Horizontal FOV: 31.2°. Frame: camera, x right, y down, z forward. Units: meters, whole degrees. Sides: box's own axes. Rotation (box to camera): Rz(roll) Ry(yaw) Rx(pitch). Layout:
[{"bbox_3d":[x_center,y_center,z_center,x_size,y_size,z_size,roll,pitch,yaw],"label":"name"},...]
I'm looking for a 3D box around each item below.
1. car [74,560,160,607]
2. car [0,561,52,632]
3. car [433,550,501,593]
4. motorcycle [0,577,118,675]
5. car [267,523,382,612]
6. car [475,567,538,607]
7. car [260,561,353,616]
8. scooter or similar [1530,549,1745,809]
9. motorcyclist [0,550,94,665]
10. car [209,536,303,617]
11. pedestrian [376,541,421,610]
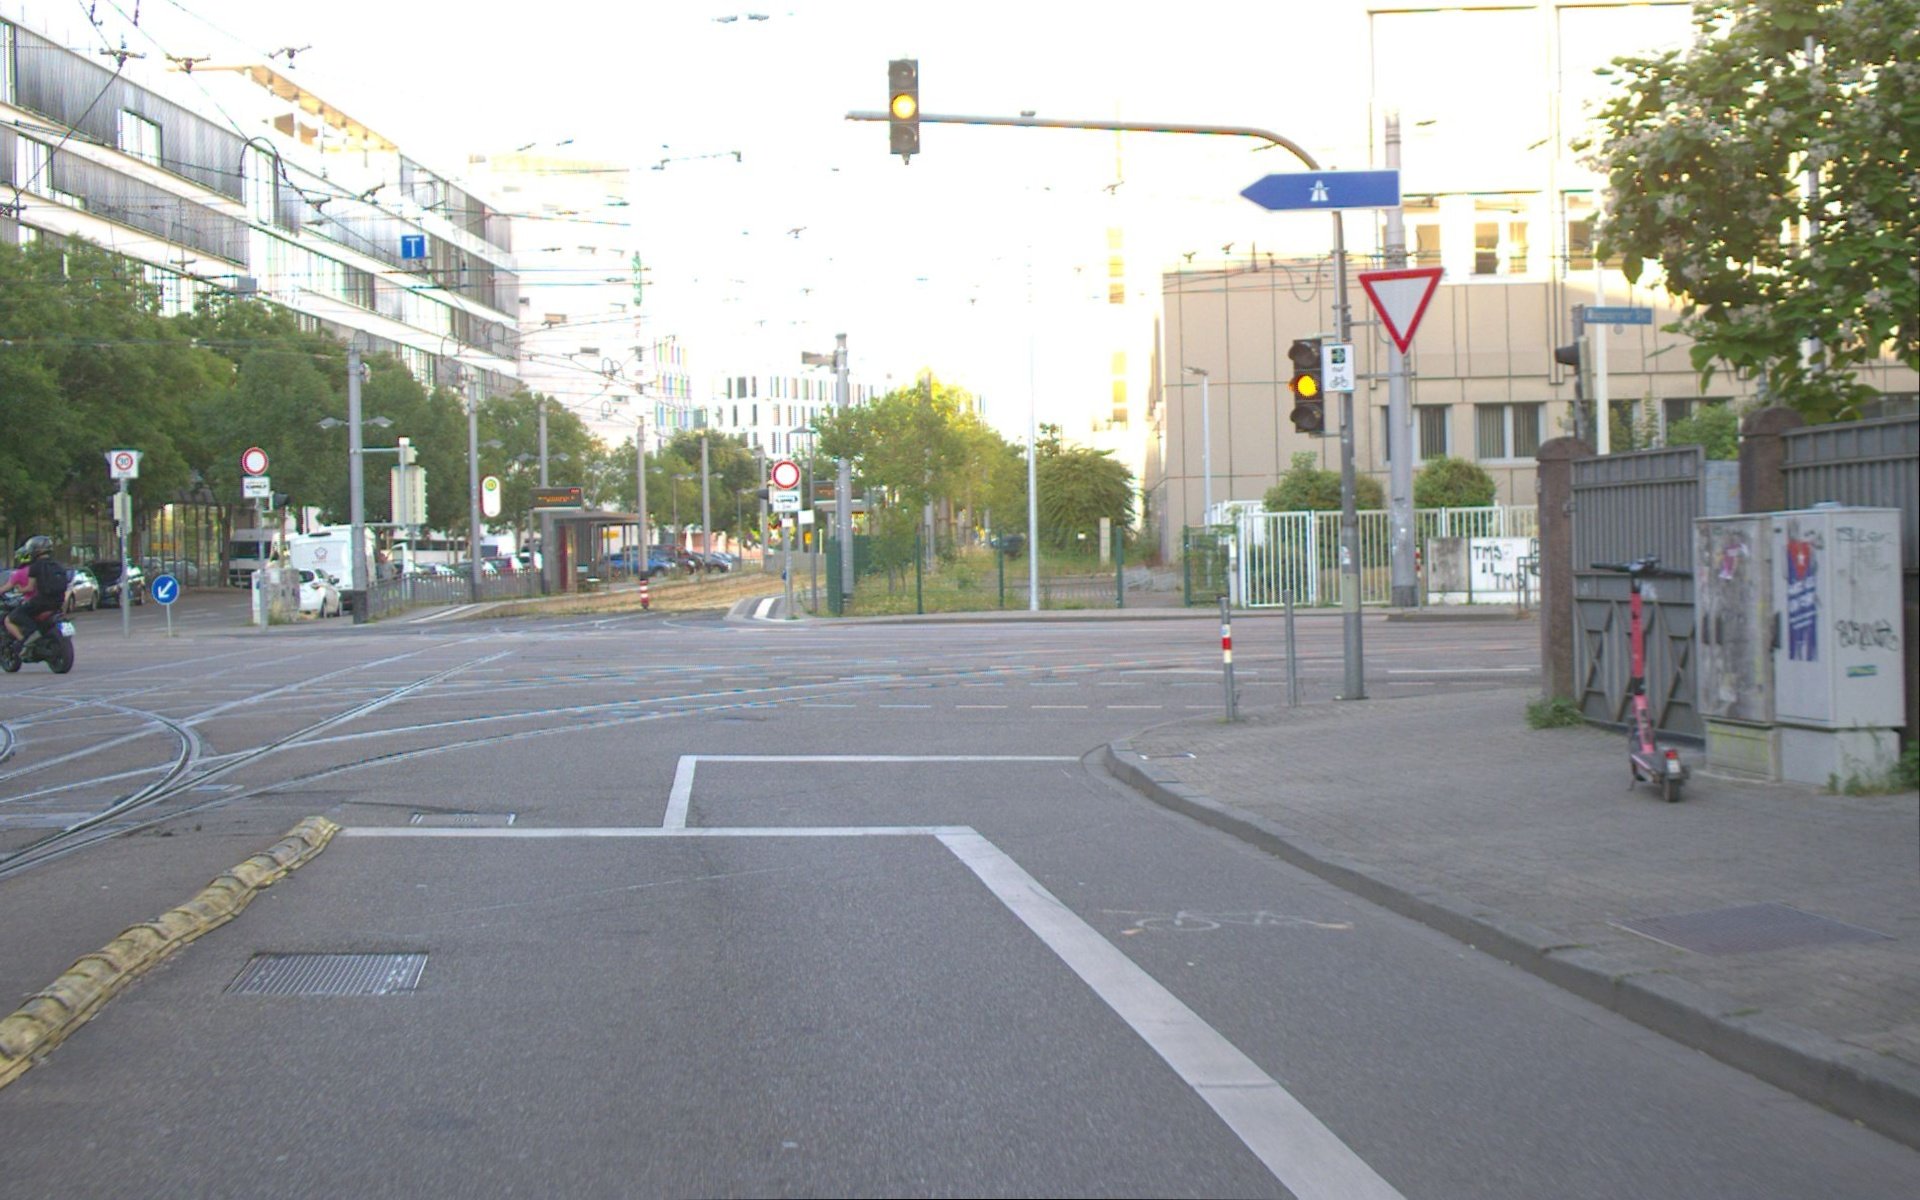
[{"bbox_3d":[-28.312,-0.578,115.584,1.683,1.496,4.239,-1,1,2],"label":"car"},{"bbox_3d":[-24.096,-0.081,85.405,1.683,1.694,4.239,-1,1,3],"label":"car"},{"bbox_3d":[-17.320,-1.031,120.936,1.683,1.434,4.126,-1,1,2],"label":"car"},{"bbox_3d":[-12.083,0.334,45.332,0.828,1.236,2.490,-2,1,-41],"label":"motorcycle"},{"bbox_3d":[-18.698,-0.984,101.465,2.461,2.474,5.809,-1,1,-2],"label":"car"},{"bbox_3d":[-17.033,-0.499,129.243,1.683,1.434,4.126,-1,1,2],"label":"car"},{"bbox_3d":[-18.174,-0.343,95.775,1.683,1.434,4.126,-1,1,2],"label":"car"},{"bbox_3d":[3.507,0.382,17.919,0.641,1.261,1.583,-3,1,-4],"label":"scooter or similar"},{"bbox_3d":[-12.110,0.094,45.375,0.828,1.468,1.206,-2,1,-41],"label":"motorcyclist"},{"bbox_3d":[-28.091,-0.977,137.355,2.201,3.141,6.142,-1,1,2],"label":"car"},{"bbox_3d":[-16.760,-0.742,102.605,1.039,2.023,0.984,-2,1,-26],"label":"pedestrian"}]
